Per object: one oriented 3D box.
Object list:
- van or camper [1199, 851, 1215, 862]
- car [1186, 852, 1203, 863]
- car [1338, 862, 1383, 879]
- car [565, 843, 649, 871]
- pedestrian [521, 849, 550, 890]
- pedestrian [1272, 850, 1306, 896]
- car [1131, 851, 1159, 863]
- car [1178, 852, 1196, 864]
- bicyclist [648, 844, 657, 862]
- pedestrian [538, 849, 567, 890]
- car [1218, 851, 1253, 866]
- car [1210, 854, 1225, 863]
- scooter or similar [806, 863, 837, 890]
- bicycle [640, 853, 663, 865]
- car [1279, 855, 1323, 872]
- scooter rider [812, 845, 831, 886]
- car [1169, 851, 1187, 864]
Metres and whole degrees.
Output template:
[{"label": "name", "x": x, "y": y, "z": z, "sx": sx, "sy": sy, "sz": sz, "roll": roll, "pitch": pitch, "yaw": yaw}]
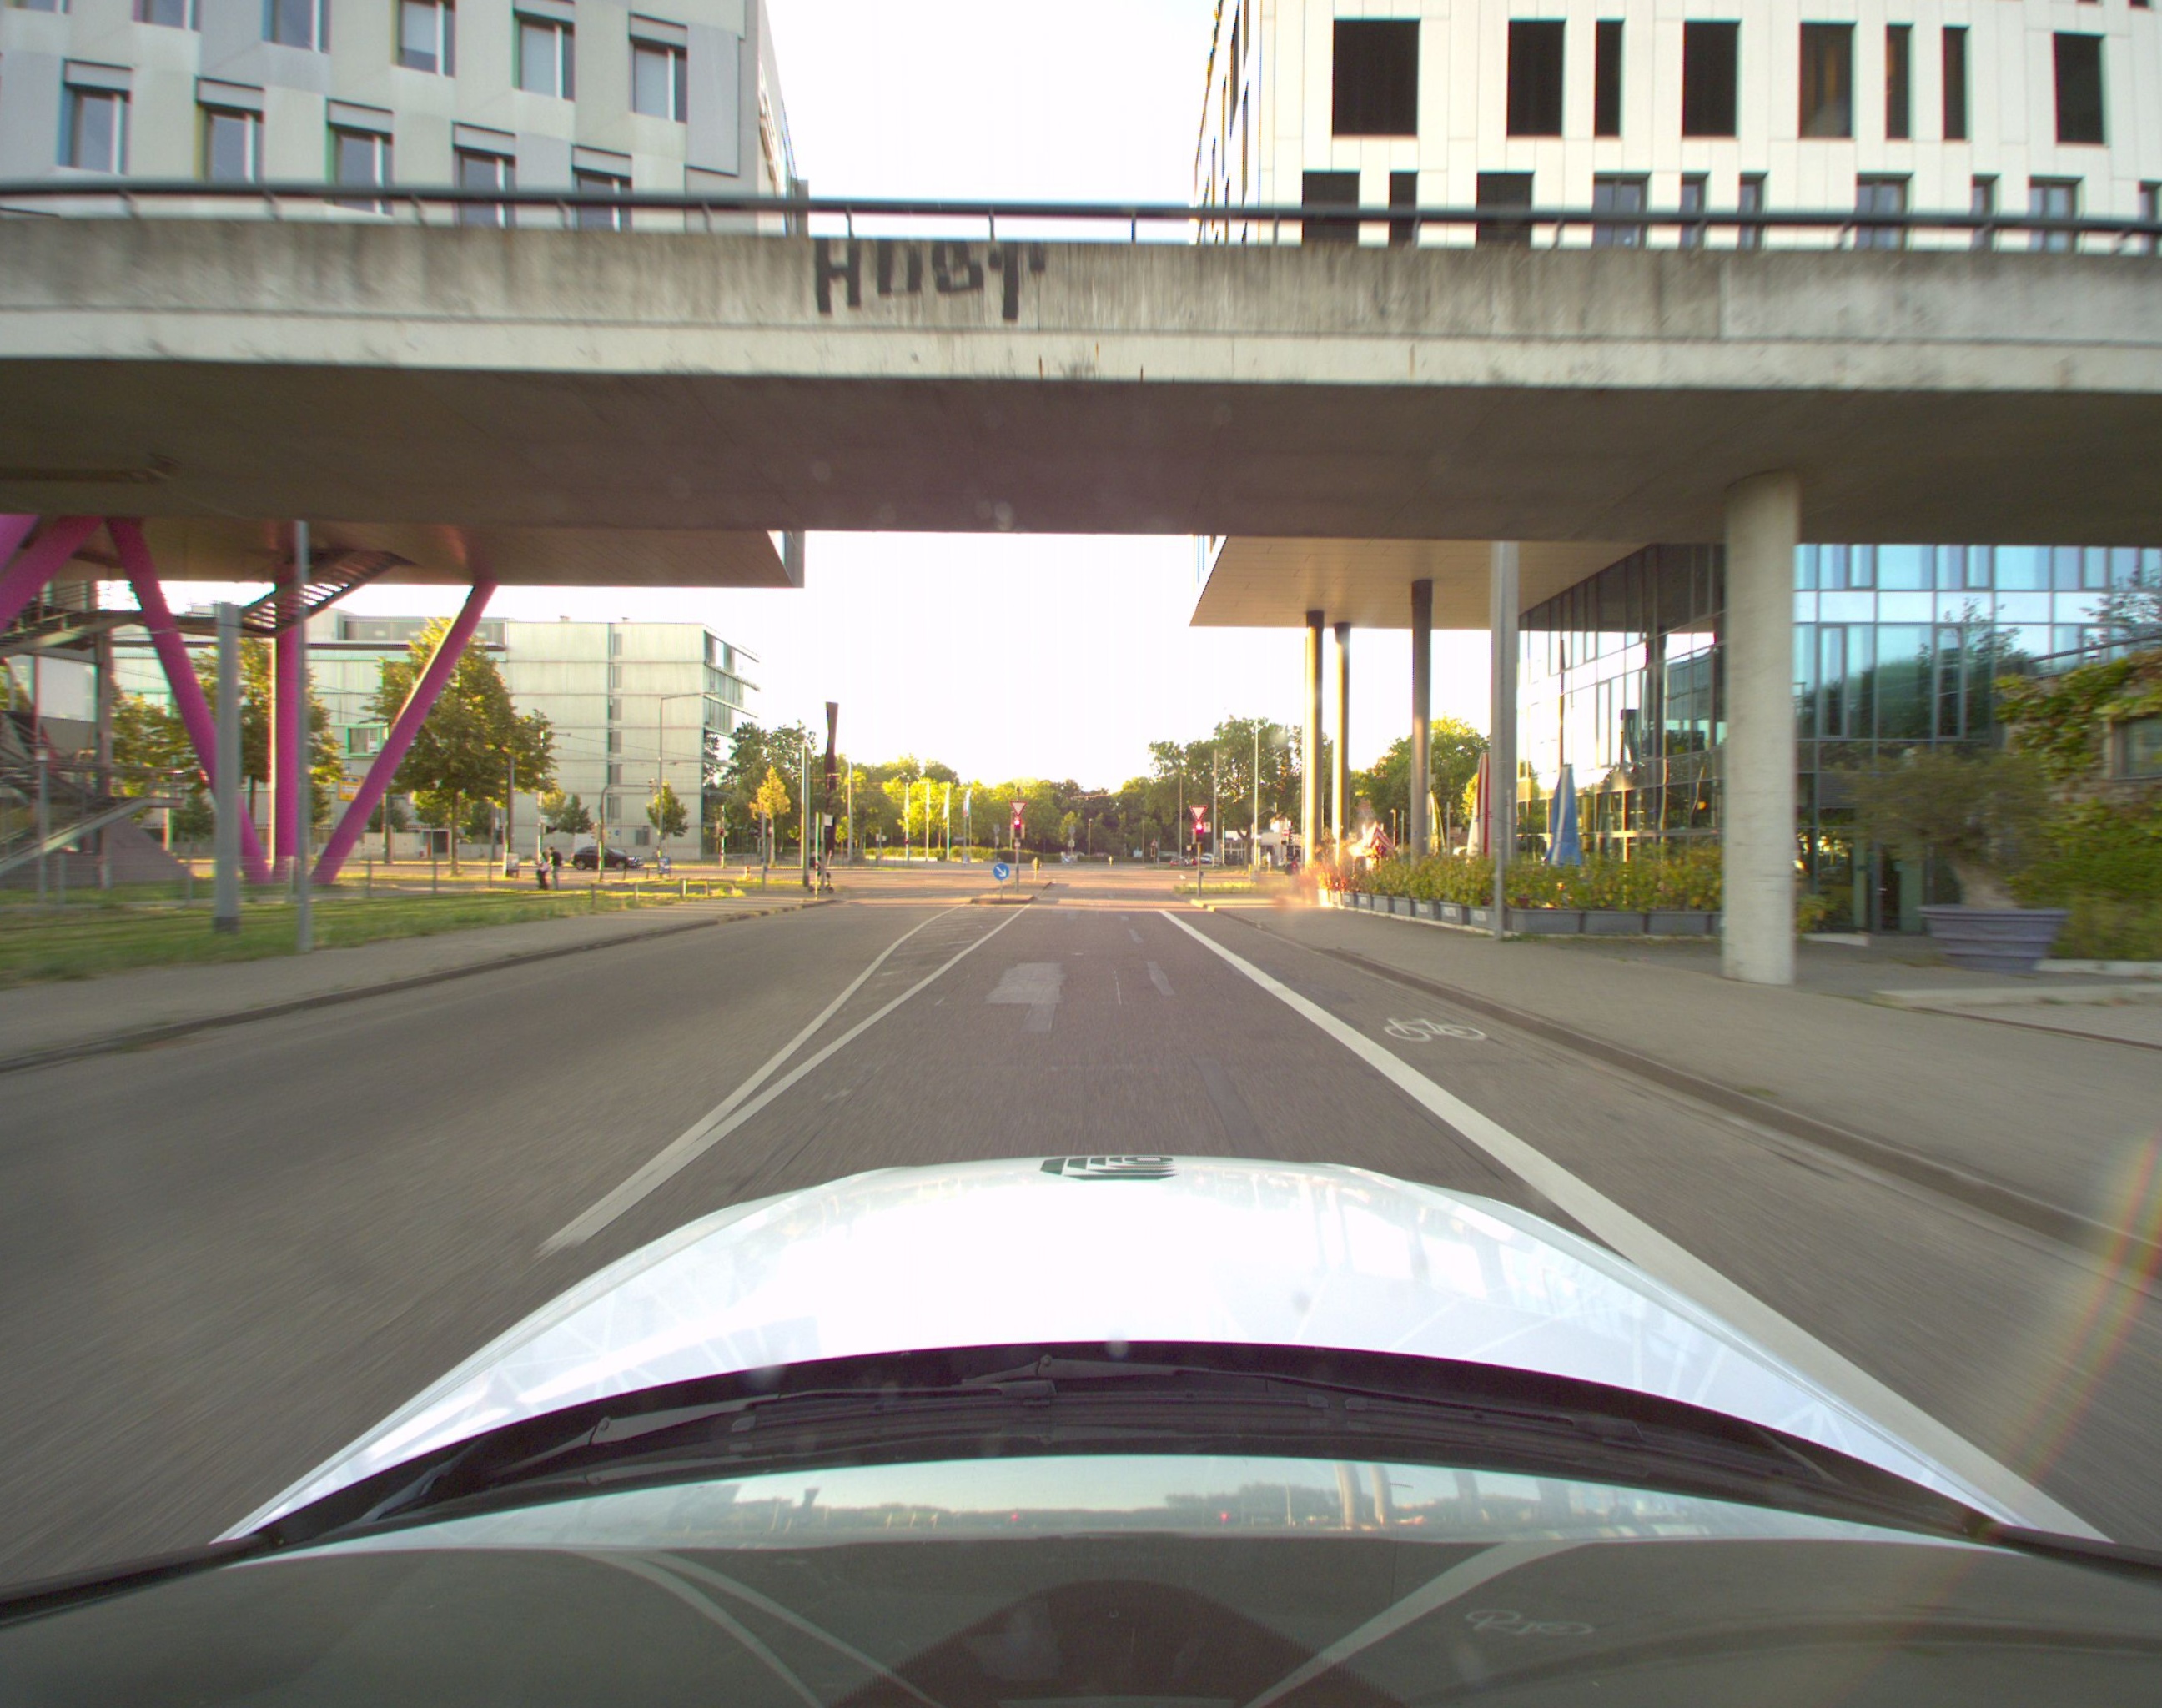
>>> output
[{"label": "van or camper", "x": 23.402, "y": 0.502, "z": 151.212, "sx": 1.609, "sy": 1.982, "sz": 3.831, "roll": 1, "pitch": 1, "yaw": 31}, {"label": "car", "x": 17.233, "y": 0.540, "z": 123.611, "sx": 1.483, "sy": 1.606, "sz": 3.424, "roll": 1, "pitch": 1, "yaw": 28}, {"label": "car", "x": 31.422, "y": 1.823, "z": 91.595, "sx": 4.448, "sy": 1.816, "sz": 1.947, "roll": 0, "pitch": 1, "yaw": 3}, {"label": "car", "x": -31.898, "y": 0.196, "z": 54.867, "sx": 4.453, "sy": 1.816, "sz": 1.945, "roll": 0, "pitch": 1, "yaw": 0}, {"label": "pedestrian", "x": -22.153, "y": 0.616, "z": 33.085, "sx": 0.680, "sy": 1.624, "sz": 0.715, "roll": 1, "pitch": 1, "yaw": 19}, {"label": "pedestrian", "x": 8.518, "y": 0.749, "z": 33.310, "sx": 1.054, "sy": 1.833, "sz": 0.892, "roll": 0, "pitch": 1, "yaw": -12}, {"label": "car", "x": 11.290, "y": 0.524, "z": 143.336, "sx": 4.658, "sy": 1.869, "sz": 2.018, "roll": 0, "pitch": 1, "yaw": 8}, {"label": "car", "x": 15.607, "y": 0.543, "z": 120.005, "sx": 1.483, "sy": 1.606, "sz": 3.424, "roll": 1, "pitch": 1, "yaw": 28}, {"label": "bicyclist", "x": -43.139, "y": -0.101, "z": 82.011, "sx": 0.760, "sy": 1.723, "sz": 0.548, "roll": 0, "pitch": 1, "yaw": -24}, {"label": "pedestrian", "x": -21.909, "y": 0.639, "z": 33.794, "sx": 0.694, "sy": 1.664, "sz": 0.715, "roll": 1, "pitch": 1, "yaw": 19}, {"label": "car", "x": 20.759, "y": 0.587, "z": 109.497, "sx": 4.443, "sy": 1.816, "sz": 1.949, "roll": 0, "pitch": 1, "yaw": 7}, {"label": "car", "x": 22.700, "y": 0.733, "z": 135.213, "sx": 1.483, "sy": 1.477, "sz": 3.103, "roll": 1, "pitch": 1, "yaw": 28}, {"label": "scooter or similar", "x": -11.497, "y": 0.989, "z": 36.054, "sx": 1.210, "sy": 1.200, "sz": 0.503, "roll": 0, "pitch": 1, "yaw": -3}, {"label": "bicycle", "x": -43.231, "y": 0.489, "z": 81.989, "sx": 1.971, "sy": 1.128, "sz": 0.556, "roll": 0, "pitch": 1, "yaw": -24}, {"label": "car", "x": 24.896, "y": 1.038, "z": 92.274, "sx": 4.448, "sy": 1.816, "sz": 1.947, "roll": 0, "pitch": 1, "yaw": 3}, {"label": "scooter rider", "x": -11.473, "y": 0.512, "z": 36.053, "sx": 0.704, "sy": 1.782, "sz": 0.442, "roll": 0, "pitch": 1, "yaw": -3}, {"label": "car", "x": 13.838, "y": 0.445, "z": 116.329, "sx": 1.483, "sy": 1.760, "sz": 3.424, "roll": 1, "pitch": 1, "yaw": 28}]
